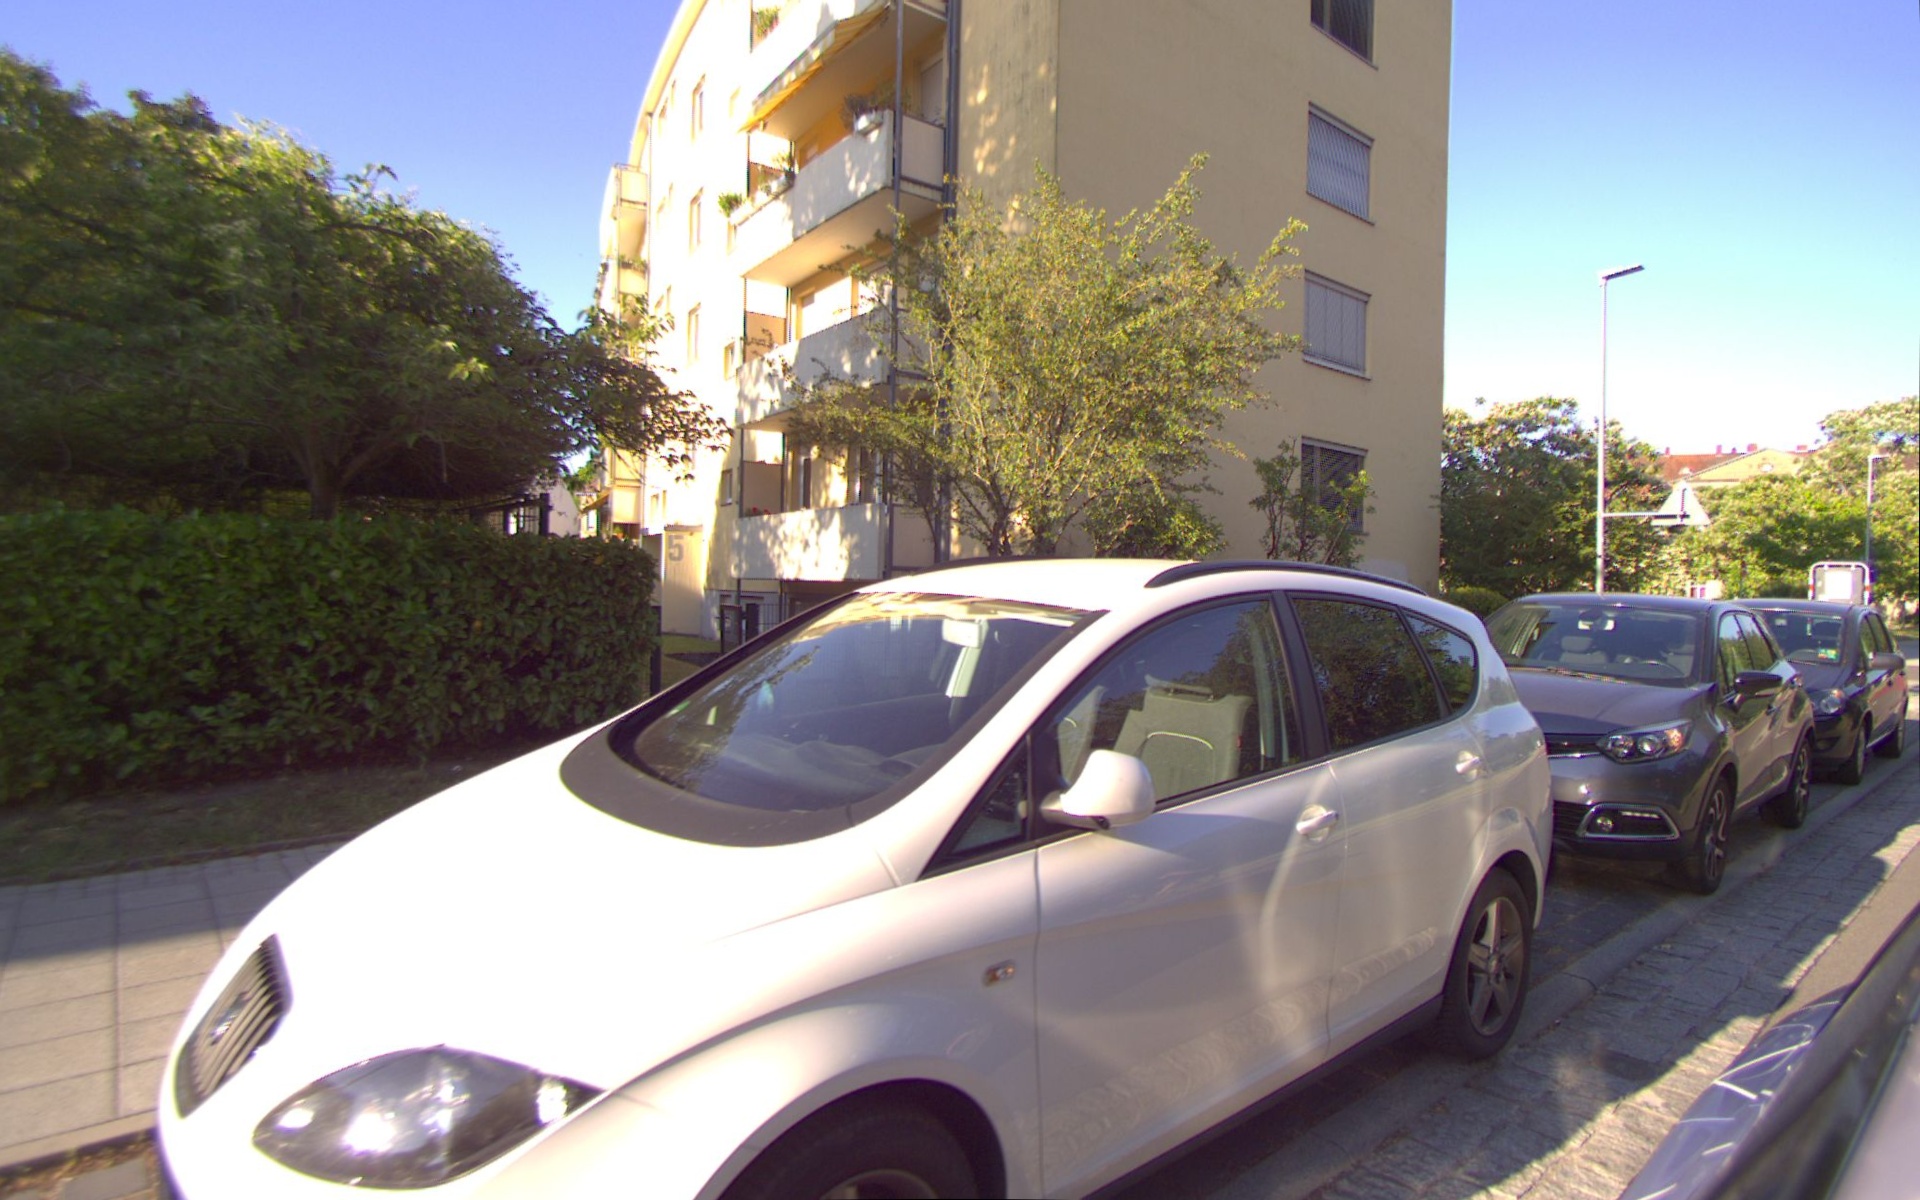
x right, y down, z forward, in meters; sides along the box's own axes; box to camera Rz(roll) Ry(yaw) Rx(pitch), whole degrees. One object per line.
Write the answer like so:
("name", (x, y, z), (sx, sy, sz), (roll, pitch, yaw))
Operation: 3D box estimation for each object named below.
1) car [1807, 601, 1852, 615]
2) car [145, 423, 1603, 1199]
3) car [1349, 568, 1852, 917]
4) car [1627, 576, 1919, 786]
("car", (99.864, 0.910, 116.243), (3.675, 1.518, 1.707), (0, 0, 32))
("car", (0.203, 0.581, 3.000), (4.056, 1.575, 1.683), (0, 2, -40))
("car", (4.372, 0.642, 6.632), (4.072, 1.575, 1.682), (0, 2, -41))
("car", (8.329, 0.647, 10.148), (4.097, 1.630, 1.713), (1, 2, -42))
